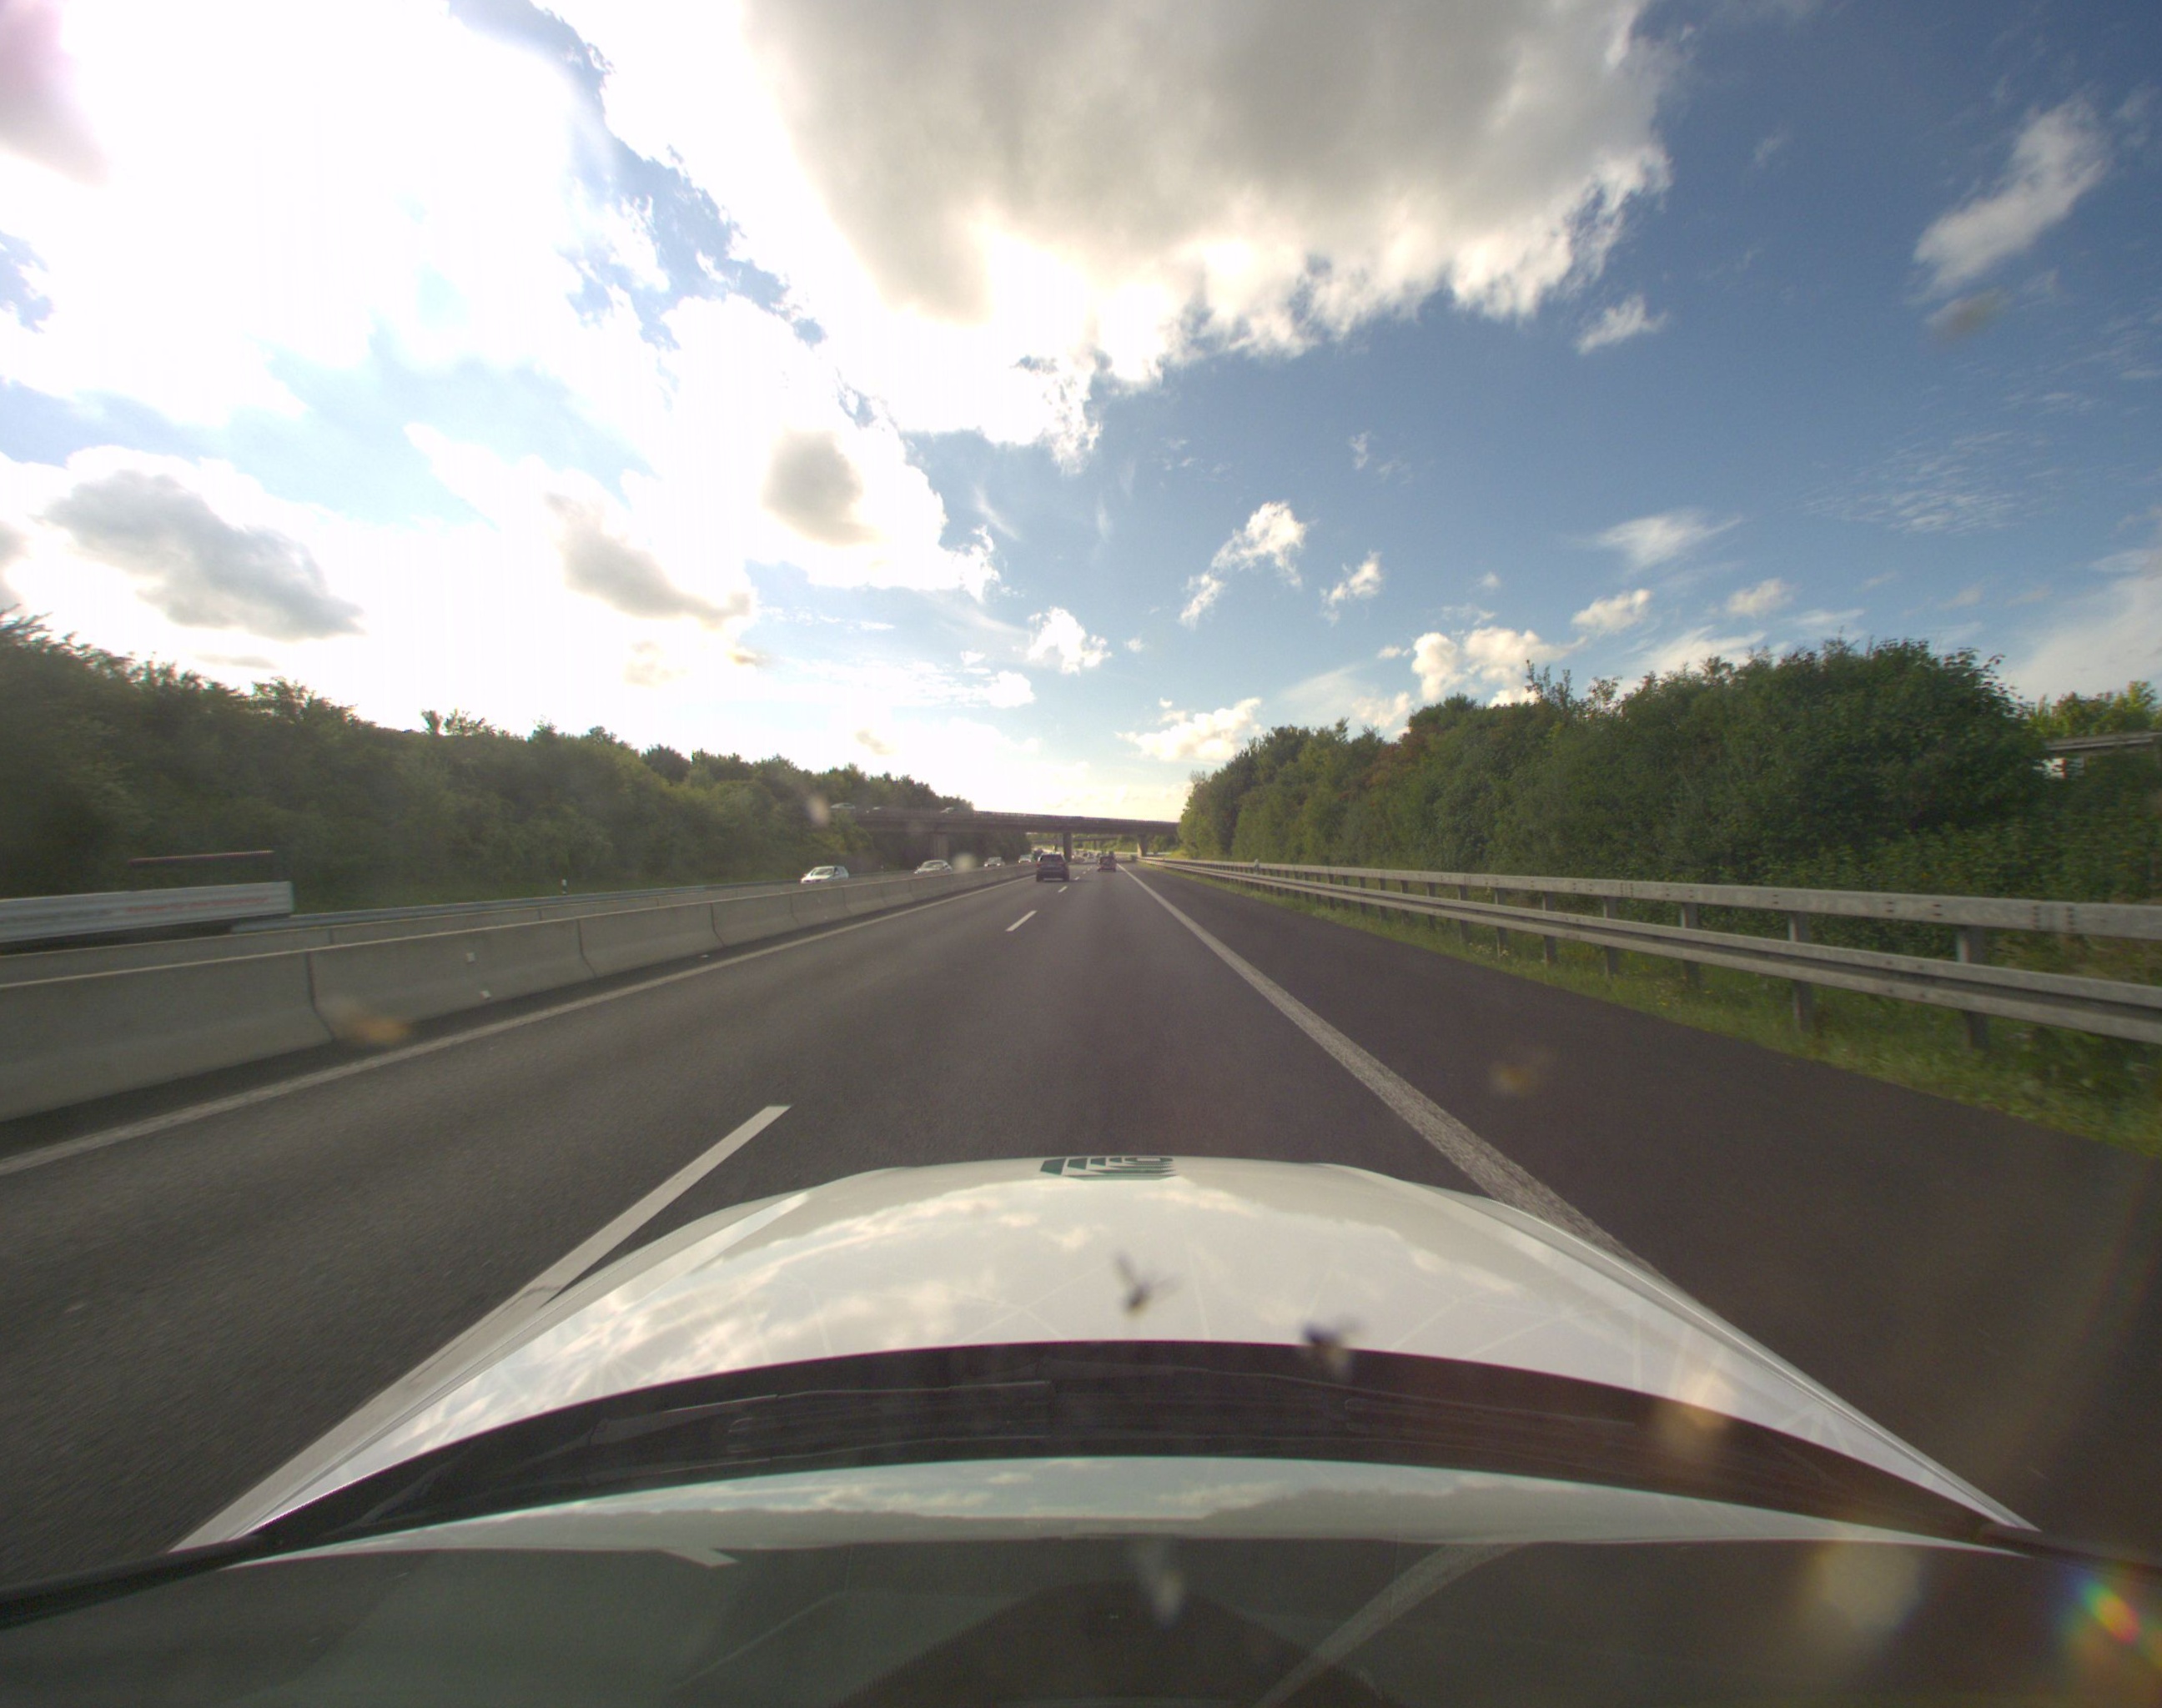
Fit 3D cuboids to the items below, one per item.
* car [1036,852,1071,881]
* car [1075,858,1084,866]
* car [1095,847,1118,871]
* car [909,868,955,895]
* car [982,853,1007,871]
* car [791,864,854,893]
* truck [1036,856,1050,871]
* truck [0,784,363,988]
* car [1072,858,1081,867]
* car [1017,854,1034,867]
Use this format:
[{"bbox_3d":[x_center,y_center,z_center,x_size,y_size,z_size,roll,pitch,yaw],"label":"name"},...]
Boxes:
[{"bbox_3d":[-1.650,0.758,49.648,1.742,1.630,3.612,-3,0,3],"label":"car"},{"bbox_3d":[-0.427,2.111,210.804,1.986,2.013,4.001,-3,0,2],"label":"car"},{"bbox_3d":[2.457,0.470,77.569,1.986,2.081,4.002,-3,0,2],"label":"car"},{"bbox_3d":[-10.175,1.844,56.097,1.986,1.648,5.197,-3,0,2],"label":"car"},{"bbox_3d":[-9.504,0.885,89.907,1.986,1.896,5.142,-3,0,2],"label":"car"},{"bbox_3d":[-14.931,1.374,47.400,1.986,1.436,4.726,-3,0,1],"label":"car"},{"bbox_3d":[-9.484,2.326,204.493,2.666,3.446,9.832,-3,0,2],"label":"truck"},{"bbox_3d":[-11.839,0.368,8.207,2.367,2.013,7.439,-3,0,2],"label":"truck"},{"bbox_3d":[-1.171,2.096,199.789,1.986,2.013,4.001,-3,0,2],"label":"car"},{"bbox_3d":[-8.485,1.031,125.111,1.986,1.896,5.190,-3,0,2],"label":"car"}]
